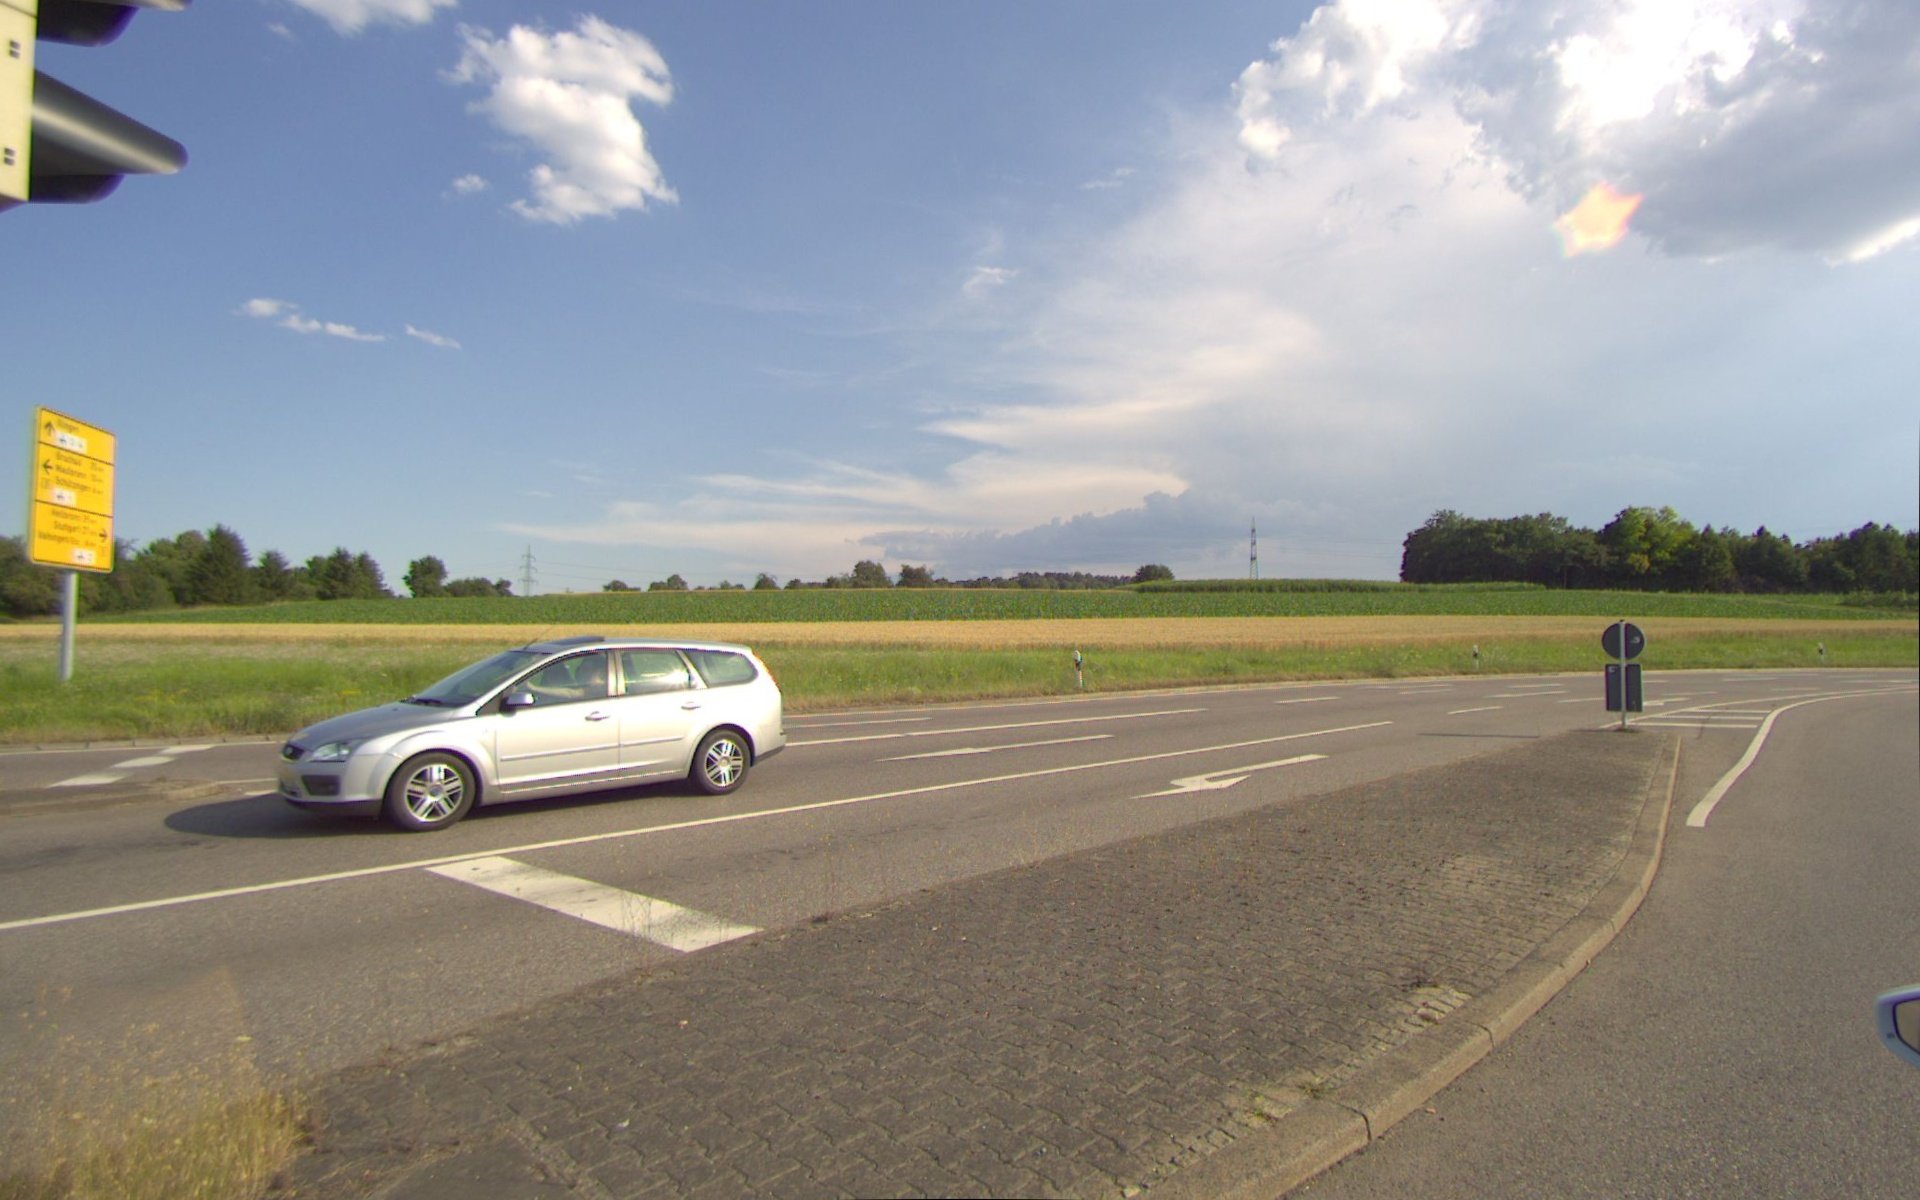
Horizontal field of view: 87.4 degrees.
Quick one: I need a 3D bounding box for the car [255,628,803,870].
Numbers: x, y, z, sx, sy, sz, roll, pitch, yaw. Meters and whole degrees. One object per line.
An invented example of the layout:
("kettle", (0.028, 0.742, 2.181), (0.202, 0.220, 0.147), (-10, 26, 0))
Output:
("car", (-3.766, 1.127, 9.347), (4.324, 1.549, 1.796), (-2, 0, -45))
